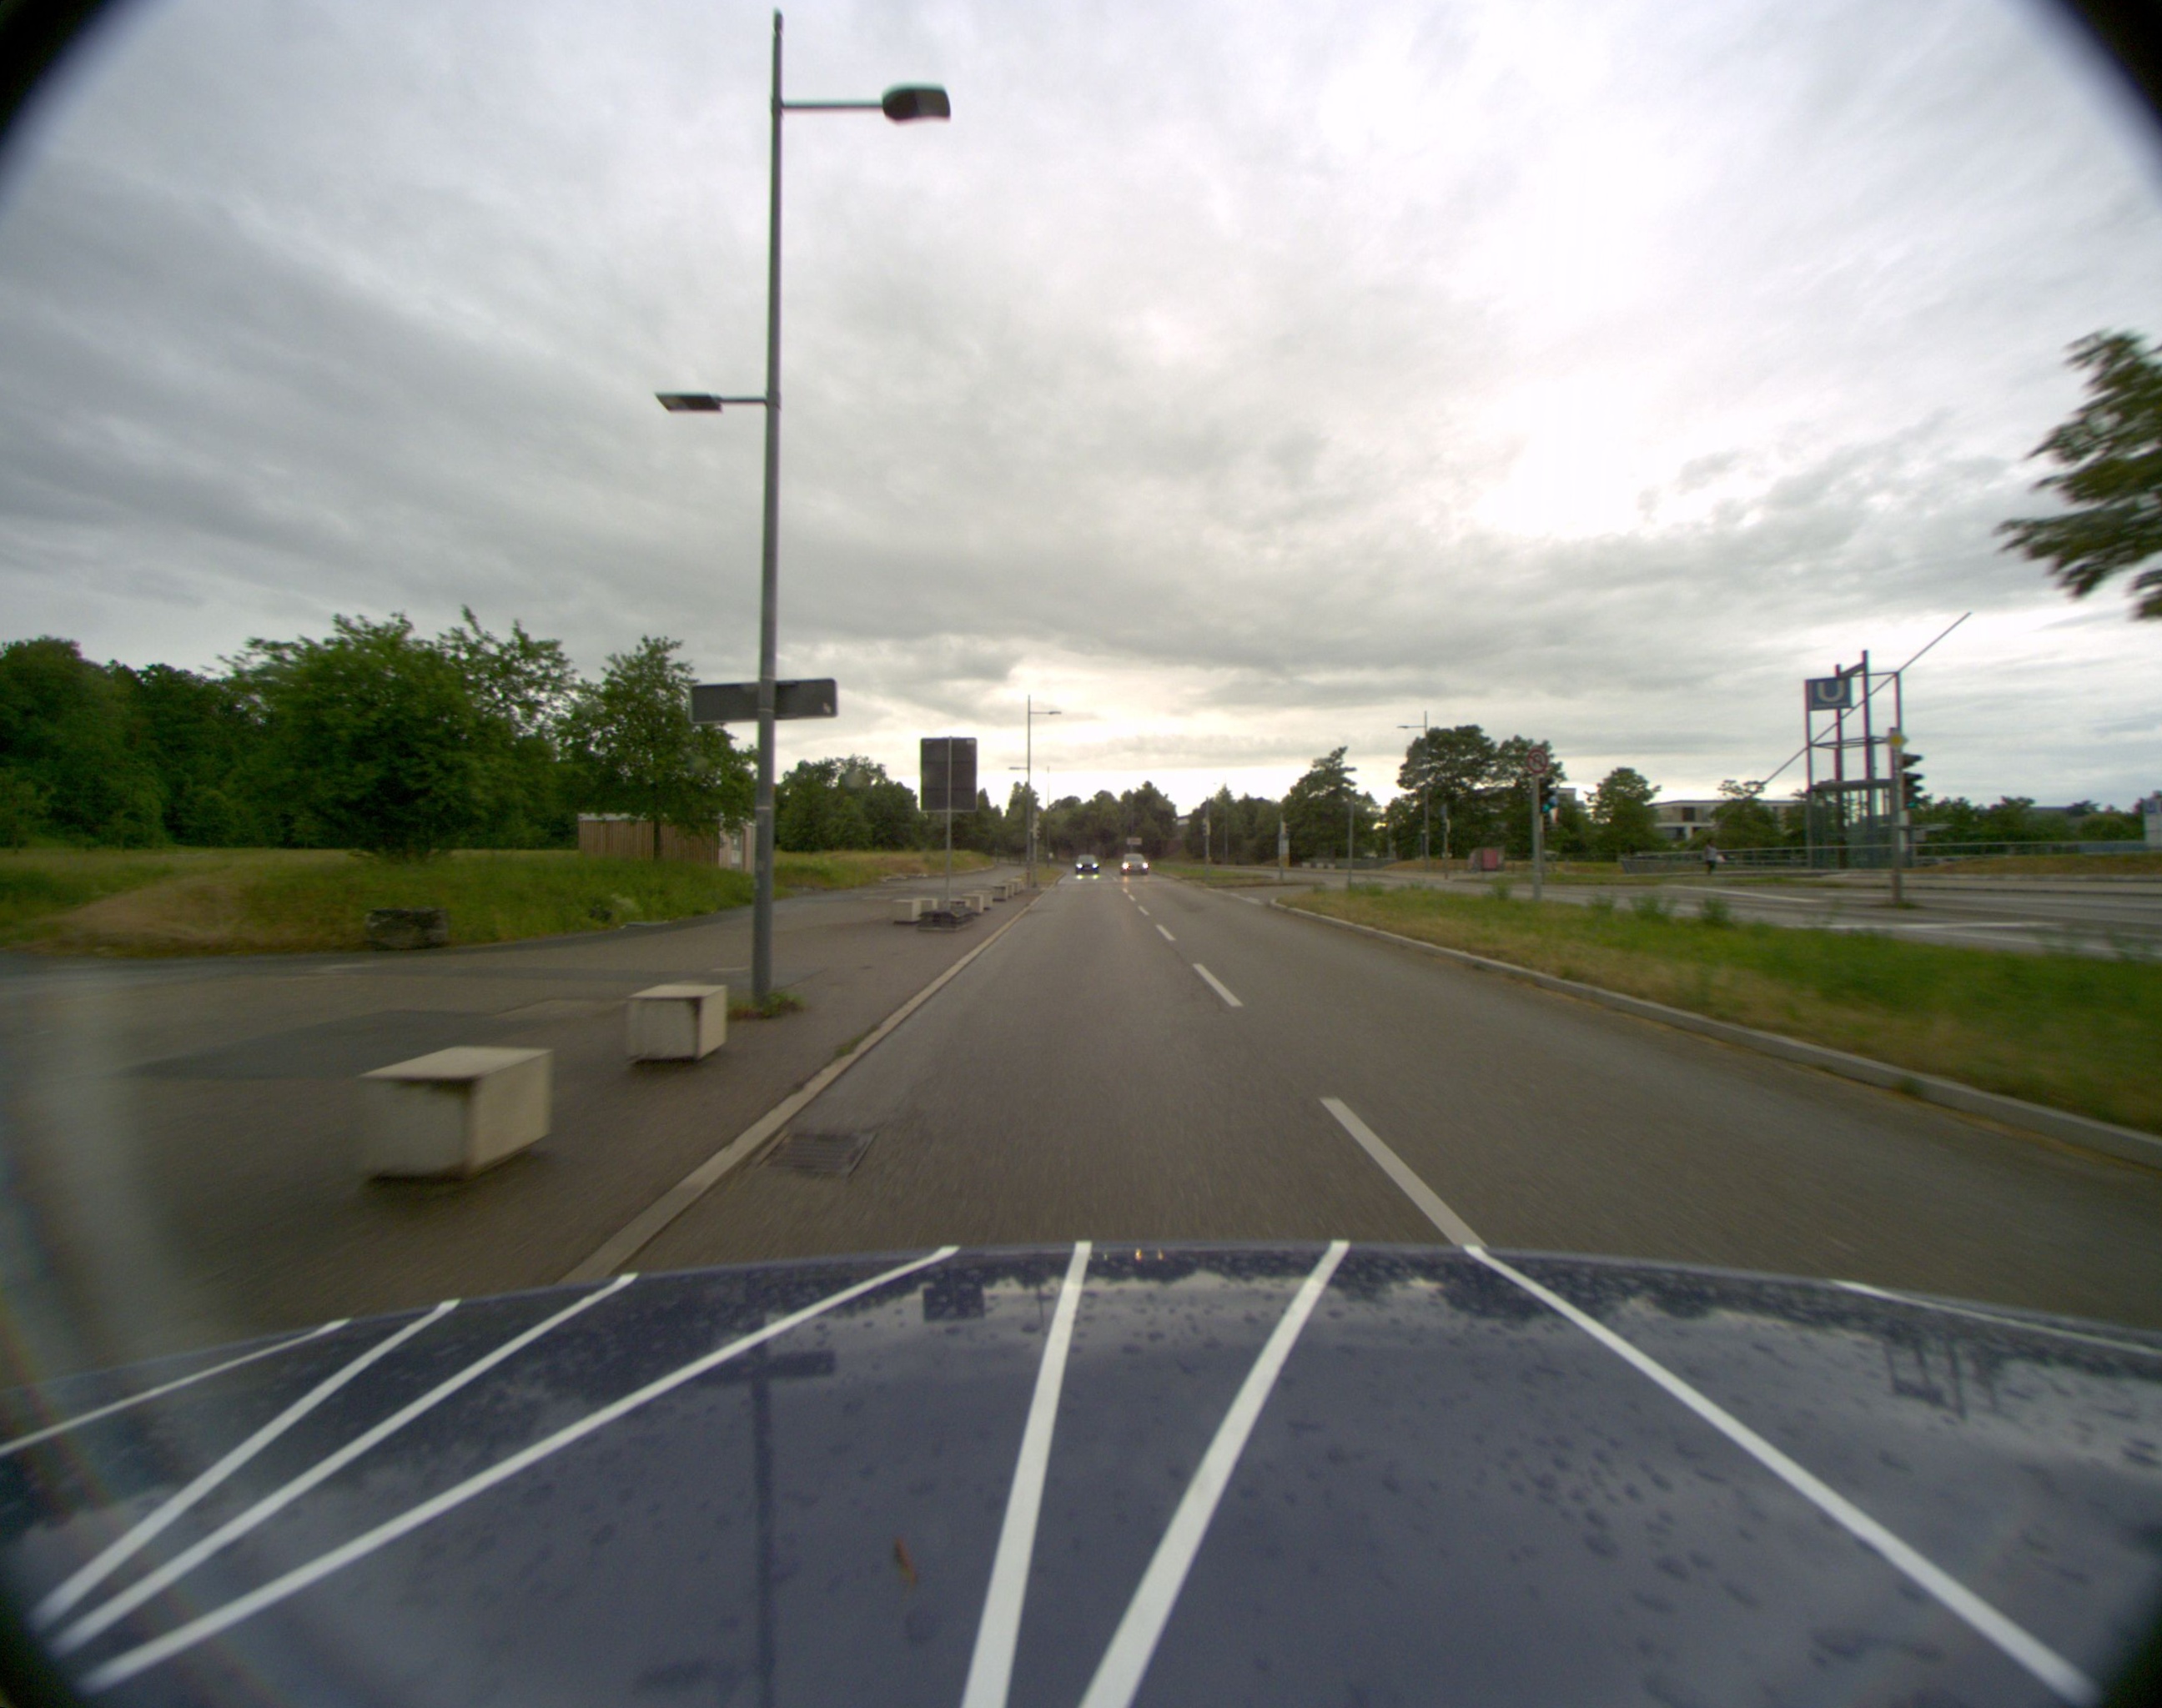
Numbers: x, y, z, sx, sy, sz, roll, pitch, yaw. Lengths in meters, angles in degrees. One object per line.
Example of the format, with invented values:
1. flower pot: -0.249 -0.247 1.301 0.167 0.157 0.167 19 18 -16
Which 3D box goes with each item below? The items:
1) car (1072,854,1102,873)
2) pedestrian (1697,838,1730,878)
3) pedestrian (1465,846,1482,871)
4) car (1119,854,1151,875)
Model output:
1. car: 0.438 0.726 59.238 1.990 1.391 4.175 -1 -1 -4
2. pedestrian: 25.240 0.157 30.345 0.823 1.584 0.672 -1 -2 -25
3. pedestrian: 25.376 0.272 49.102 0.616 1.584 0.812 -1 -1 -4
4. car: 3.736 0.726 53.542 1.810 1.421 4.196 -2 0 -2
